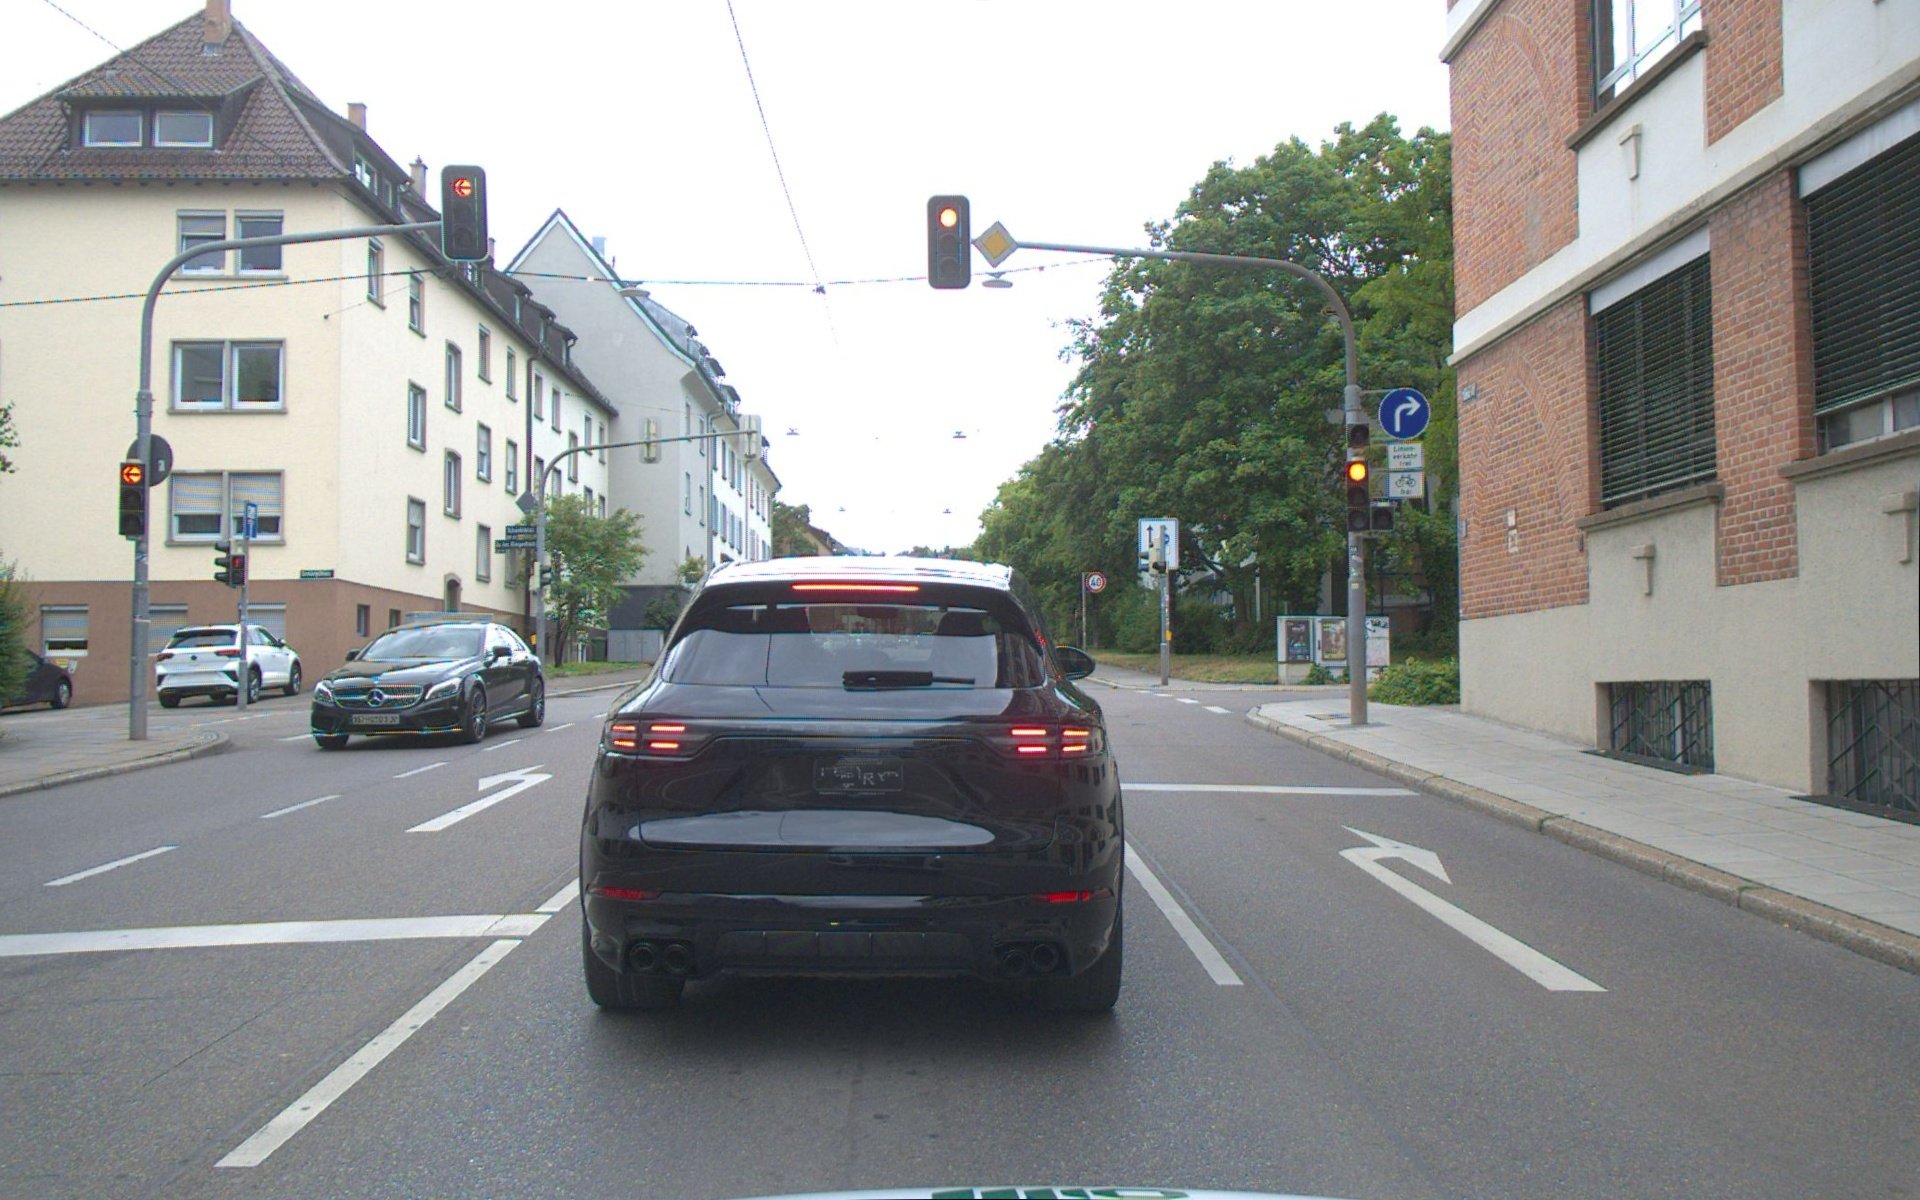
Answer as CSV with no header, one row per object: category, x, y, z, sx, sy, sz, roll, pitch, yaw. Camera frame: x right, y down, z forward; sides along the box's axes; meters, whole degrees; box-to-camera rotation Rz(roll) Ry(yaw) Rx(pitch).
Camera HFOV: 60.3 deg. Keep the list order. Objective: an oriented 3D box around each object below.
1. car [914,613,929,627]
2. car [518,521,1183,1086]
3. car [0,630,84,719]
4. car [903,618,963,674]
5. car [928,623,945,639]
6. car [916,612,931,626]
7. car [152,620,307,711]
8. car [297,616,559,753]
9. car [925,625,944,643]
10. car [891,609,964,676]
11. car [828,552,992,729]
car,-4.732,2.480,202.827,1.790,1.633,4.134,1,0,-1
car,-0.351,0.620,7.205,2.007,1.695,4.266,1,0,-1
car,-19.626,1.524,33.749,1.658,1.636,3.762,-3,0,-5
car,-0.844,1.433,52.498,1.790,1.633,3.858,1,0,-1
car,-2.611,3.455,182.384,1.790,1.633,4.134,1,0,-1
car,-4.660,2.430,210.155,1.790,1.633,4.134,1,0,-1
car,-14.726,1.277,33.542,1.658,1.582,3.762,-3,0,-5
car,-6.440,0.957,20.591,1.749,1.443,4.669,-2,-1,-1
car,-2.530,3.291,162.457,1.790,1.633,4.134,1,0,-1
car,-0.837,1.078,43.785,1.790,1.633,4.134,1,0,-1
car,-0.615,0.478,21.874,1.925,2.078,4.134,1,0,-1
